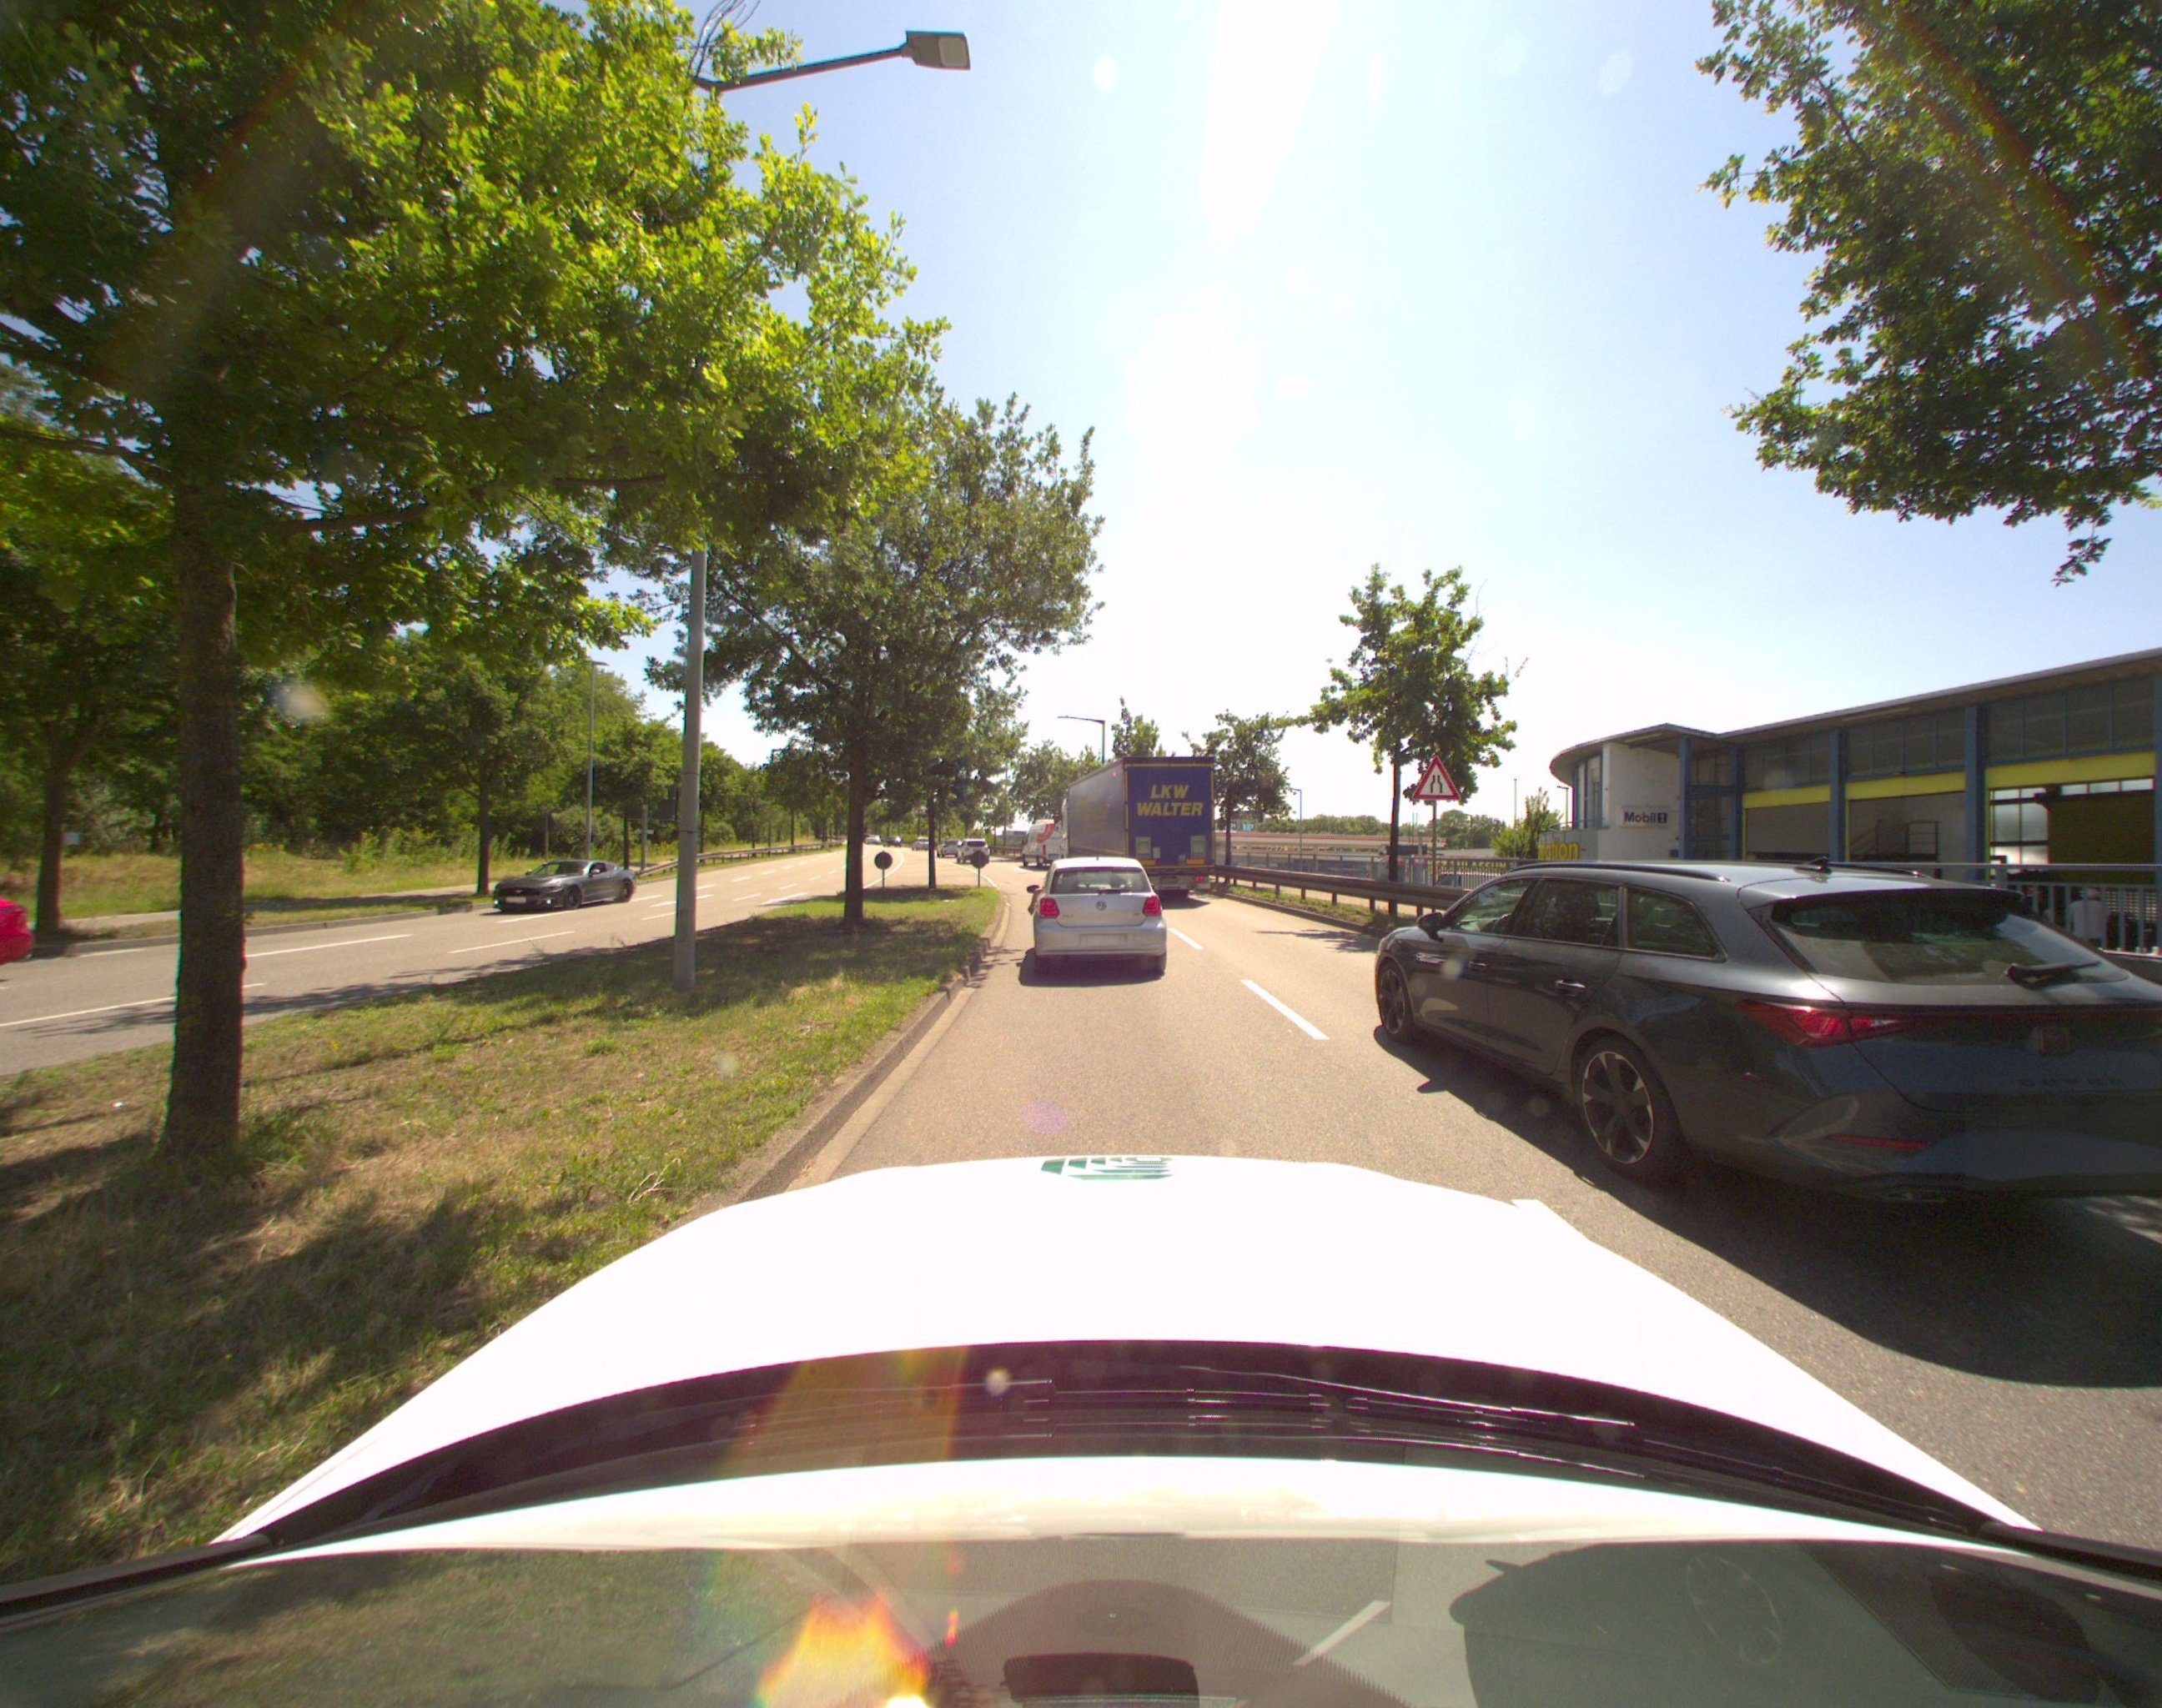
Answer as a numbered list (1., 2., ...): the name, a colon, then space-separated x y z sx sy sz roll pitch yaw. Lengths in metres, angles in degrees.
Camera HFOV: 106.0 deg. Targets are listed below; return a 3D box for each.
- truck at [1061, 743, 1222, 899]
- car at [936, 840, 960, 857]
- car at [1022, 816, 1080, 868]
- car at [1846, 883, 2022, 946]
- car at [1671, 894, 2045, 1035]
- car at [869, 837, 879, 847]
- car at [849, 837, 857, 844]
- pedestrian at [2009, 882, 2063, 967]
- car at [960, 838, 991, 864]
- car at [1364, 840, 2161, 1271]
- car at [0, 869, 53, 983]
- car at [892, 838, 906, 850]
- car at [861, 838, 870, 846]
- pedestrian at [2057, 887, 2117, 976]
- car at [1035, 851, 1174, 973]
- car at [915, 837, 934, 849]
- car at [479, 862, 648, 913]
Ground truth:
1. truck: 1.475 -0.917 30.384 2.830 4.198 16.433 0 0 -7
2. car: -11.231 -0.460 68.770 1.498 1.360 3.641 0 0 -18
3. car: -1.869 -0.720 48.199 2.179 2.900 6.328 0 1 -14
4. car: 24.476 1.695 23.433 3.664 1.684 1.646 0 -1 -7
5. car: 10.694 1.412 11.680 1.628 1.532 3.898 0 -1 -1
6. car: -30.860 -1.762 121.552 1.459 1.314 3.619 0 -1 -15
7. car: -44.133 -2.592 157.625 1.324 1.139 2.979 0 -1 -15
8. pedestrian: 19.545 1.427 16.673 0.520 1.703 0.488 0 -1 -2
9. car: -7.272 -0.186 55.834 1.904 1.718 4.208 0 -1 -10
10. car: 3.244 0.701 4.896 1.600 1.456 4.233 0 -1 -1
11. car: -14.610 0.925 8.554 1.824 1.437 4.525 -2 -1 0
12. car: -24.234 -1.319 108.317 1.668 1.465 3.563 0 -1 -15
13. car: -35.479 -1.972 133.845 1.420 1.314 3.320 0 -1 -15
14. pedestrian: 19.776 1.506 16.014 0.425 1.703 0.589 0 -1 -3
15. car: 0.215 0.698 11.394 1.642 1.439 3.533 0 -1 -2
16. car: -17.511 -1.217 90.855 1.613 1.360 3.639 0 0 -19
17. car: -14.556 0.884 23.273 1.803 1.333 4.570 0 -1 1
